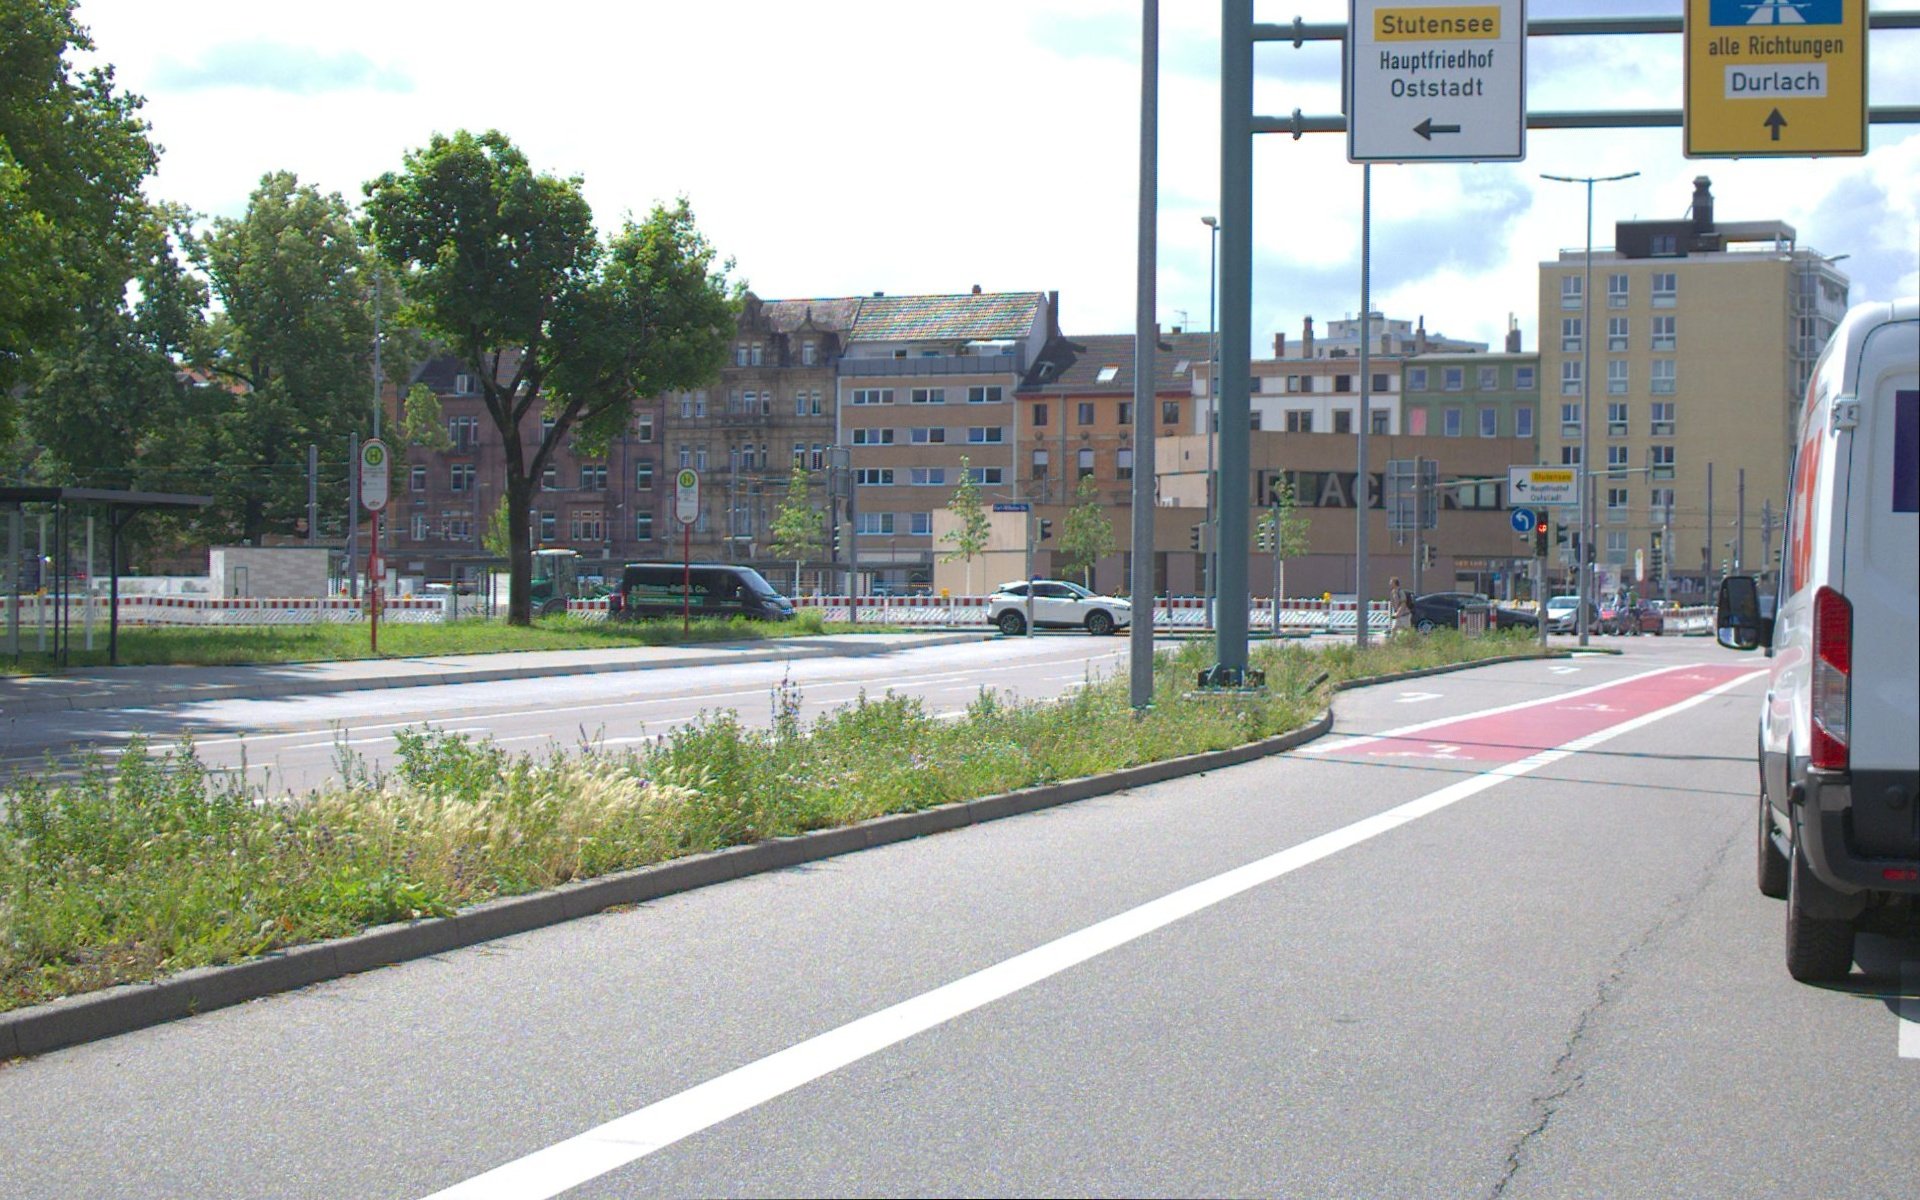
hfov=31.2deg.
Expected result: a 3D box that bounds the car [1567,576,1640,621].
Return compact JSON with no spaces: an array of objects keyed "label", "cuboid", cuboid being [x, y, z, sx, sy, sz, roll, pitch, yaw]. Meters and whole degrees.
[{"label":"car","cuboid":[24.391,-0.043,130.215,1.881,1.646,3.995,1,0,23]}]

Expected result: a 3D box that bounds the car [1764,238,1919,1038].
[{"label":"car","cuboid":[4.399,0.097,13.999,2.142,2.643,5.701,1,1,13]}]

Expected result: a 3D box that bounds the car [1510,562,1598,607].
[{"label":"car","cuboid":[21.544,-0.545,124.584,1.904,1.579,3.993,1,0,29]}]

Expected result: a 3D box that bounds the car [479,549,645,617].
[{"label":"car","cuboid":[-12.167,-0.525,105.314,4.630,2.007,2.099,1,0,10]}]

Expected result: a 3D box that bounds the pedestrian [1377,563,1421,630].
[{"label":"pedestrian","cuboid":[10.258,-0.088,80.364,0.873,1.554,0.555,0,1,-11]}]

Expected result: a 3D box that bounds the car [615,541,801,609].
[{"label":"car","cuboid":[-7.259,-0.740,99.290,5.011,1.872,1.928,1,1,12]}]

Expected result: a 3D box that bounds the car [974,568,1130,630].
[{"label":"car","cuboid":[2.760,-0.027,102.504,4.359,1.787,1.999,1,0,10]}]

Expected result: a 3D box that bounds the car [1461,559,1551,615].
[{"label":"car","cuboid":[20.183,-0.474,127.001,1.997,2.007,3.993,1,0,29]}]
